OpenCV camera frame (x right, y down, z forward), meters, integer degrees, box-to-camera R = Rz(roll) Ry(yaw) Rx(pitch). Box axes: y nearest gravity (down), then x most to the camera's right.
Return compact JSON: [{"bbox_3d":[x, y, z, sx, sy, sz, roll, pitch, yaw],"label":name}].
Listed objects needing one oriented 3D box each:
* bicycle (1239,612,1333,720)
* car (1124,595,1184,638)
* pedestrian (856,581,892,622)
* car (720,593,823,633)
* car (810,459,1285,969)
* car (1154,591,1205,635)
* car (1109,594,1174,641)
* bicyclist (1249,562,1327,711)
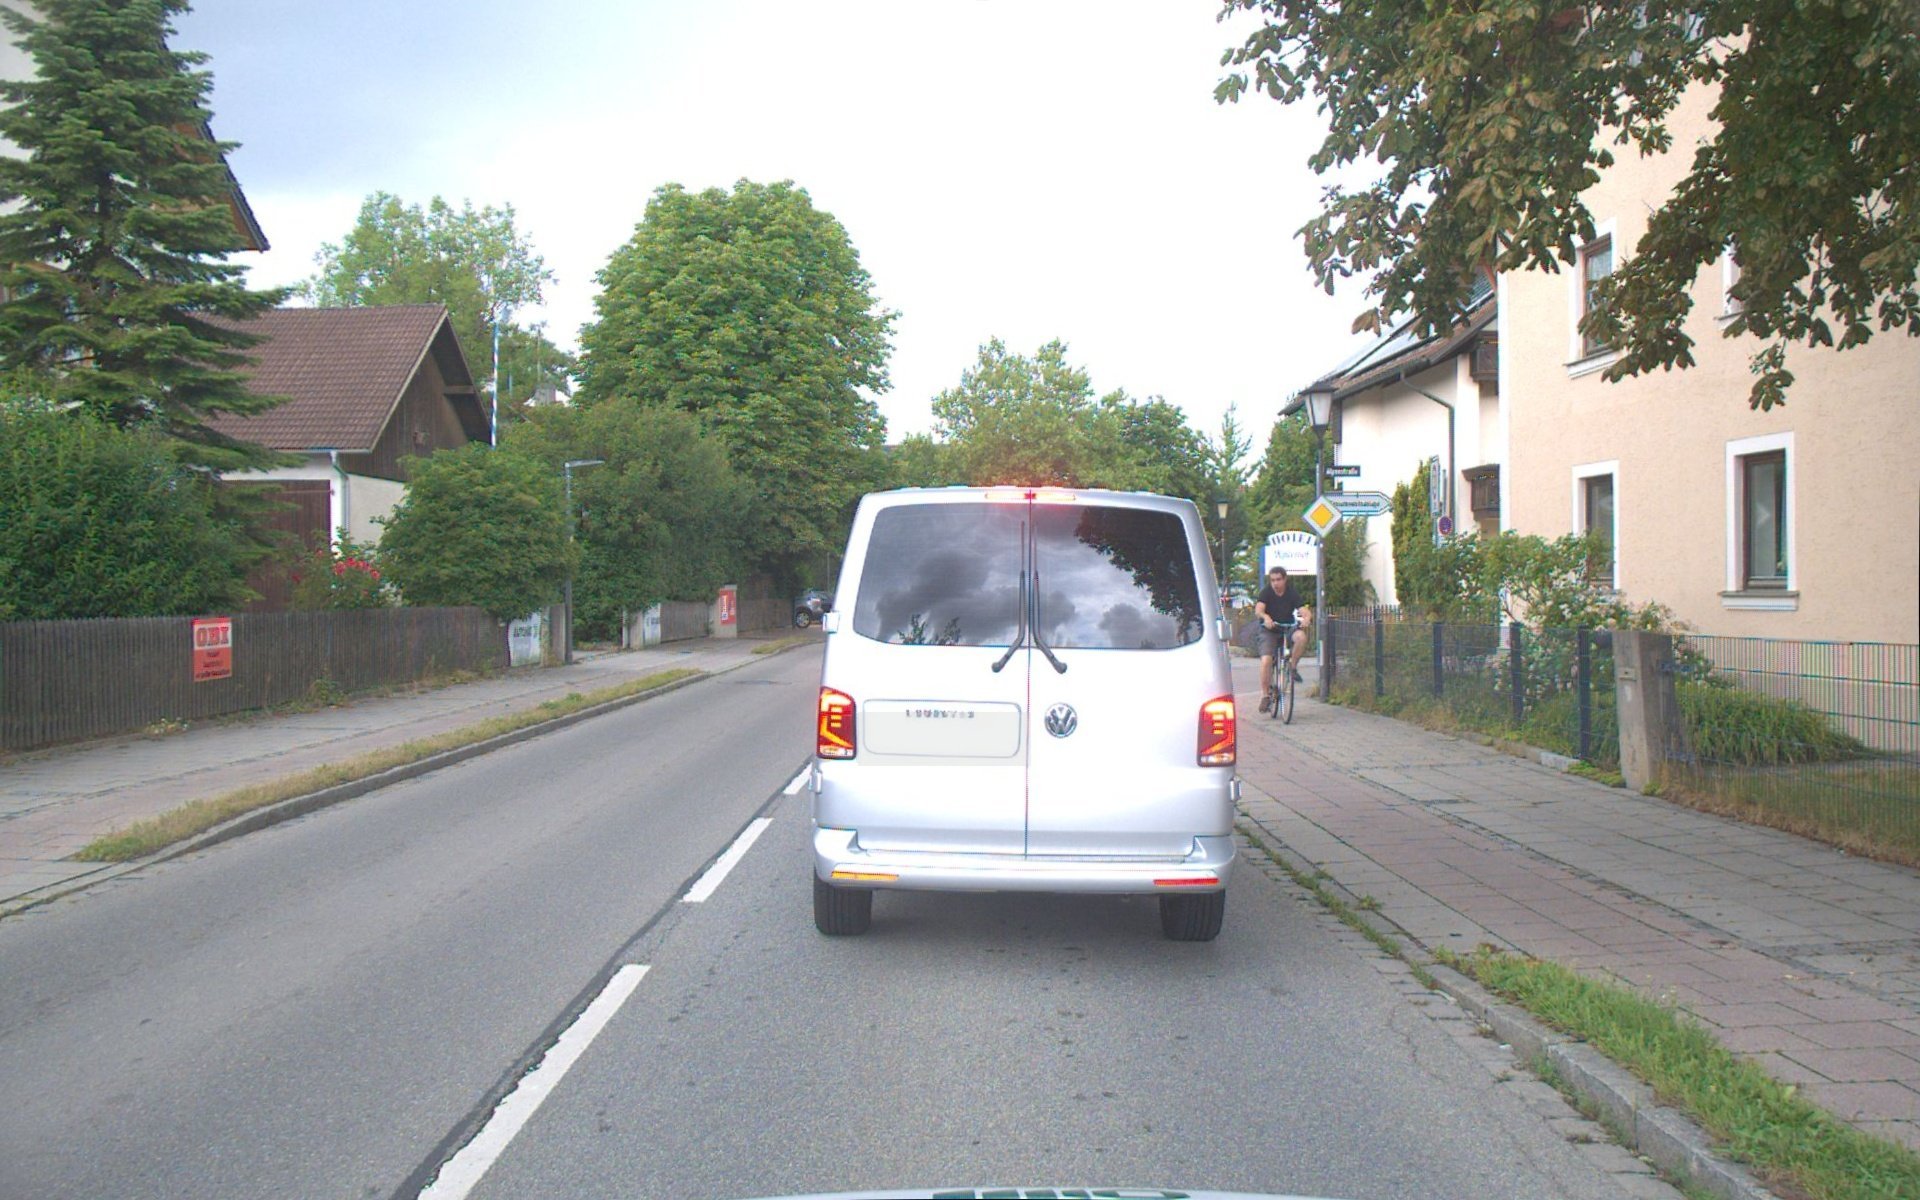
[{"bbox_3d":[3.727,0.731,19.038,0.749,1.163,1.845,0,0,1],"label":"bicycle"},{"bbox_3d":[7.412,0.592,62.871,1.841,1.562,3.924,0,0,13],"label":"car"},{"bbox_3d":[-3.982,0.065,76.392,1.307,1.834,1.056,0,0,-35],"label":"pedestrian"},{"bbox_3d":[-7.359,0.493,64.441,3.913,1.512,1.996,0,0,-9],"label":"car"},{"bbox_3d":[0.352,0.437,8.392,1.842,1.974,3.920,0,0,0],"label":"car"},{"bbox_3d":[9.283,0.534,69.754,1.841,1.779,4.084,0,0,12],"label":"car"},{"bbox_3d":[6.271,0.579,56.827,1.841,1.562,3.924,0,0,11],"label":"car"},{"bbox_3d":[3.744,0.404,18.950,0.721,1.661,0.890,0,0,1],"label":"bicyclist"}]
